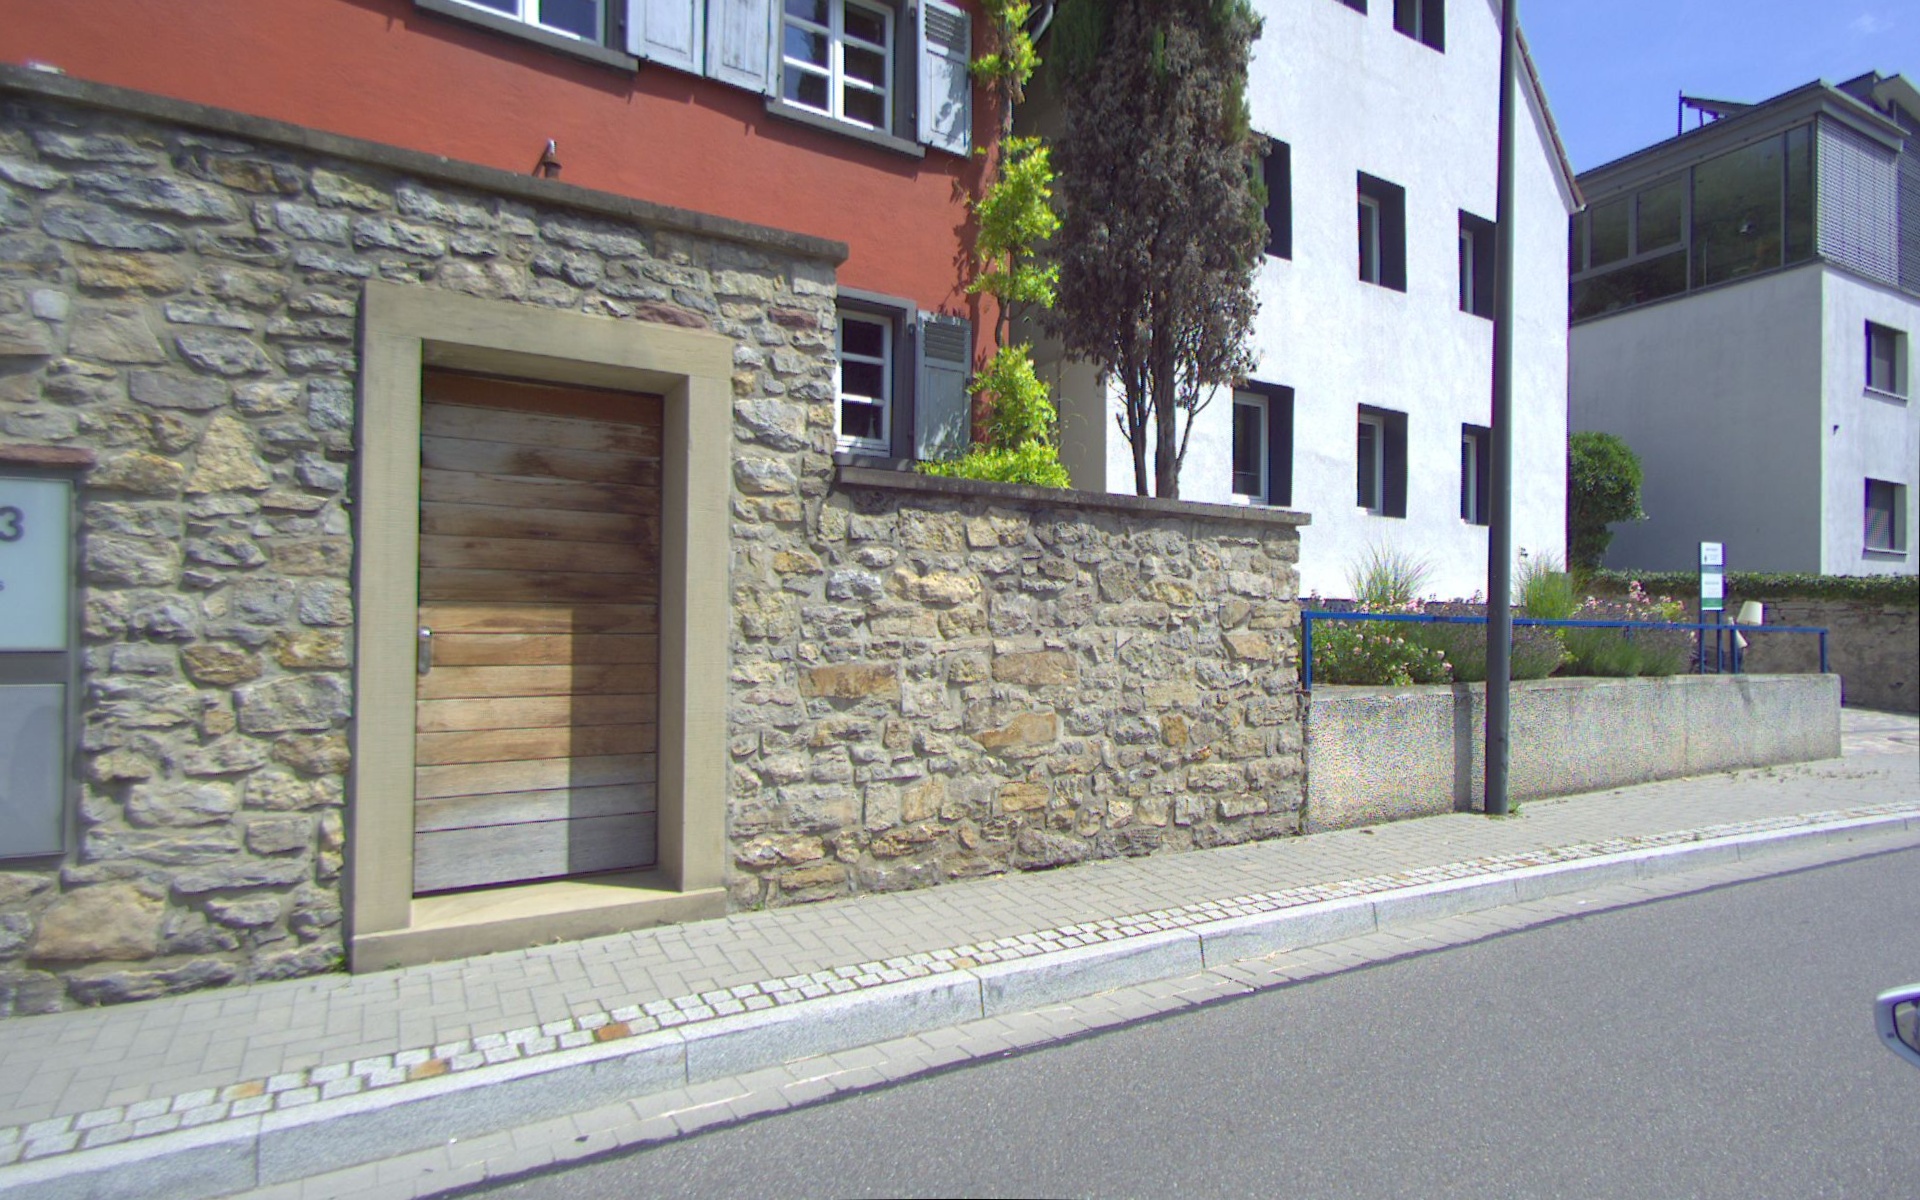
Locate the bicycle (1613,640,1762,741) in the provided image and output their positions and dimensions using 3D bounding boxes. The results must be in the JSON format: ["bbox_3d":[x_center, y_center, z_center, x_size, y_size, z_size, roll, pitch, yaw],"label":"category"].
[{"bbox_3d":[7.870,0.973,10.866,1.517,0.985,0.506,3,4,-22],"label":"bicycle"}]
